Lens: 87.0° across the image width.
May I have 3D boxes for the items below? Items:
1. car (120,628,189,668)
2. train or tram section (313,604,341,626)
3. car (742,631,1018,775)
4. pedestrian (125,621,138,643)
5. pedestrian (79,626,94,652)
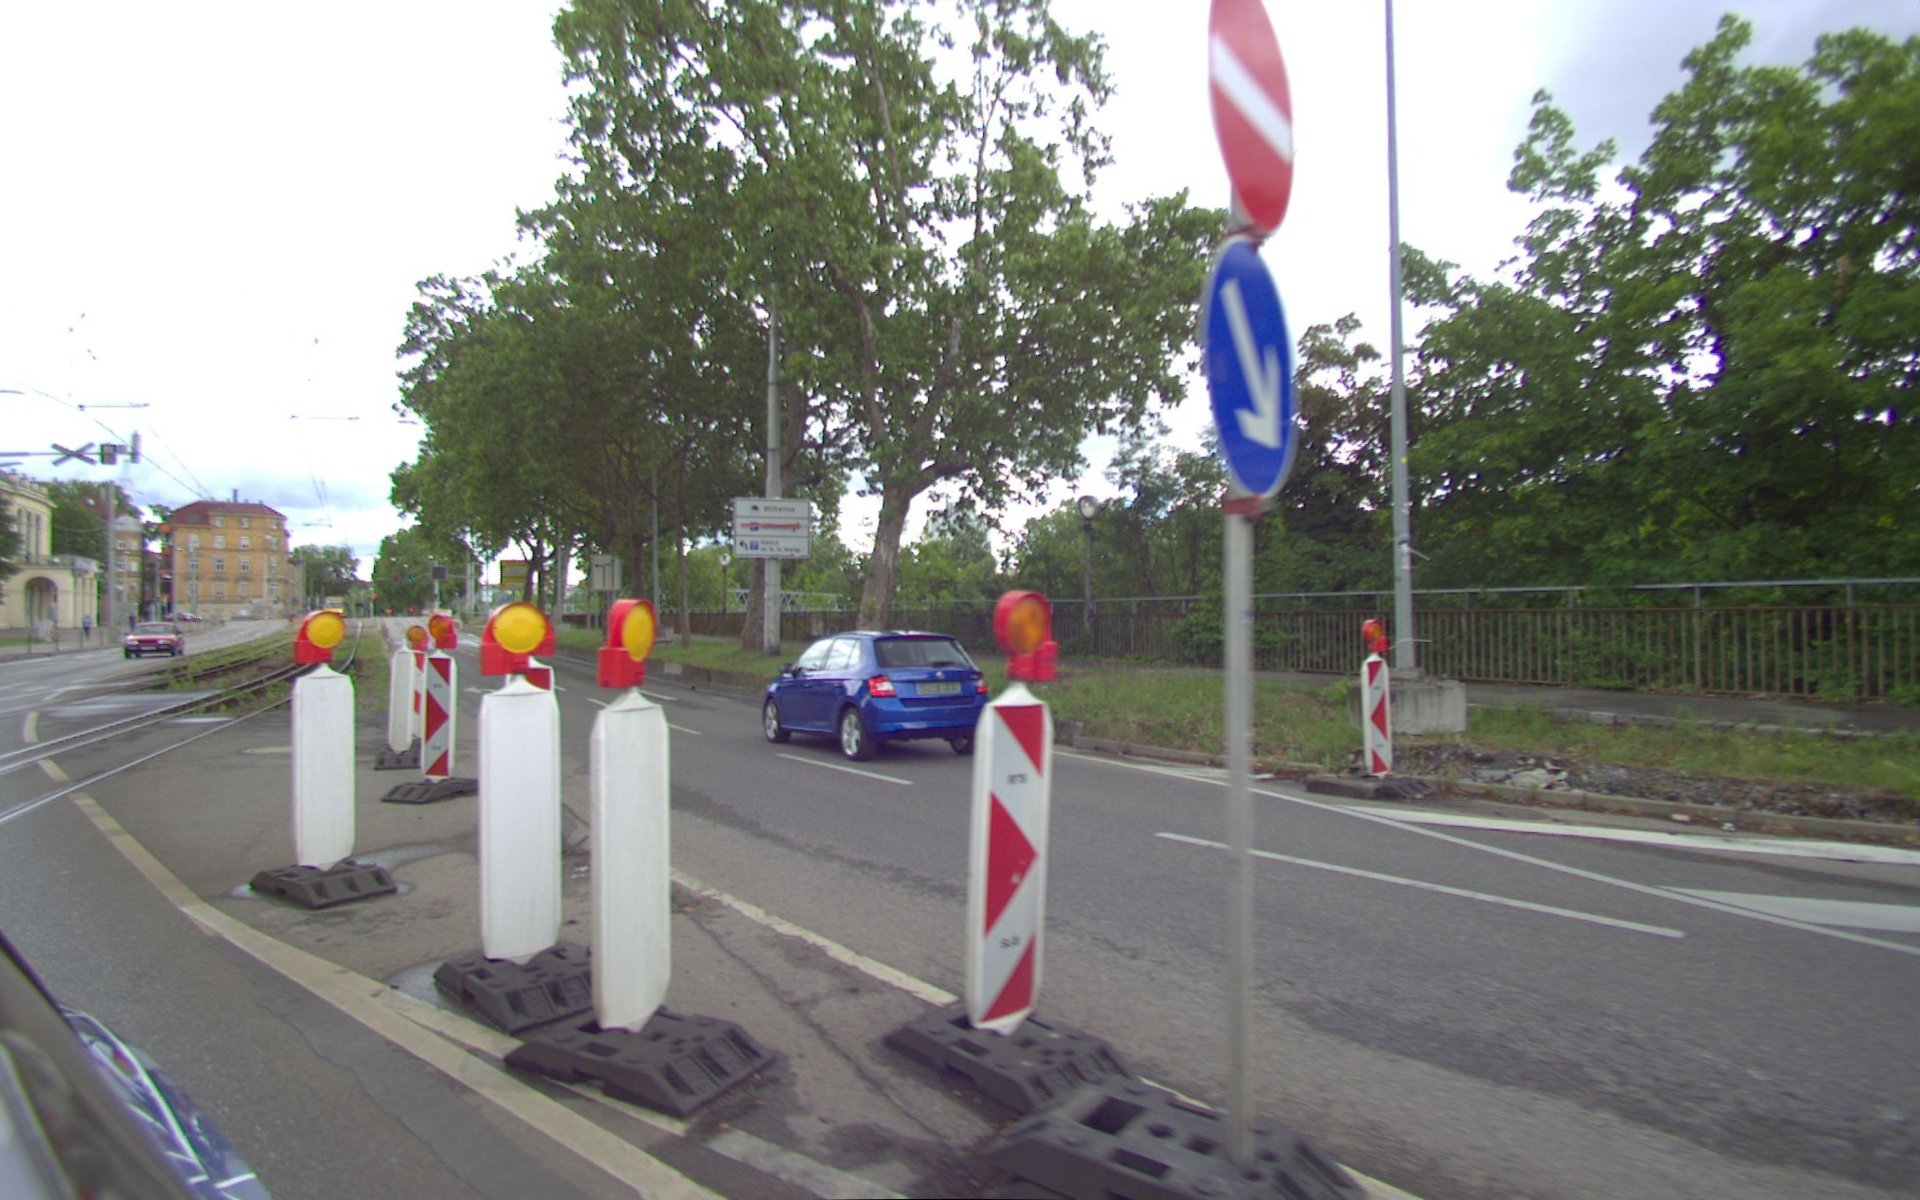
[{"bbox_3d":[-33.024,1.940,41.580,1.654,1.453,4.131,-2,0,-31],"label":"car"},{"bbox_3d":[-105.641,2.438,168.978,3.678,3.391,17.608,2,-1,-32],"label":"train or tram section"},{"bbox_3d":[-1.146,1.143,12.458,1.672,1.472,3.923,1,-3,-34],"label":"car"},{"bbox_3d":[-67.098,2.558,81.920,0.661,1.781,0.939,1,-1,-31],"label":"pedestrian"},{"bbox_3d":[-62.210,2.766,72.092,0.661,1.781,0.939,1,-1,-31],"label":"pedestrian"}]
